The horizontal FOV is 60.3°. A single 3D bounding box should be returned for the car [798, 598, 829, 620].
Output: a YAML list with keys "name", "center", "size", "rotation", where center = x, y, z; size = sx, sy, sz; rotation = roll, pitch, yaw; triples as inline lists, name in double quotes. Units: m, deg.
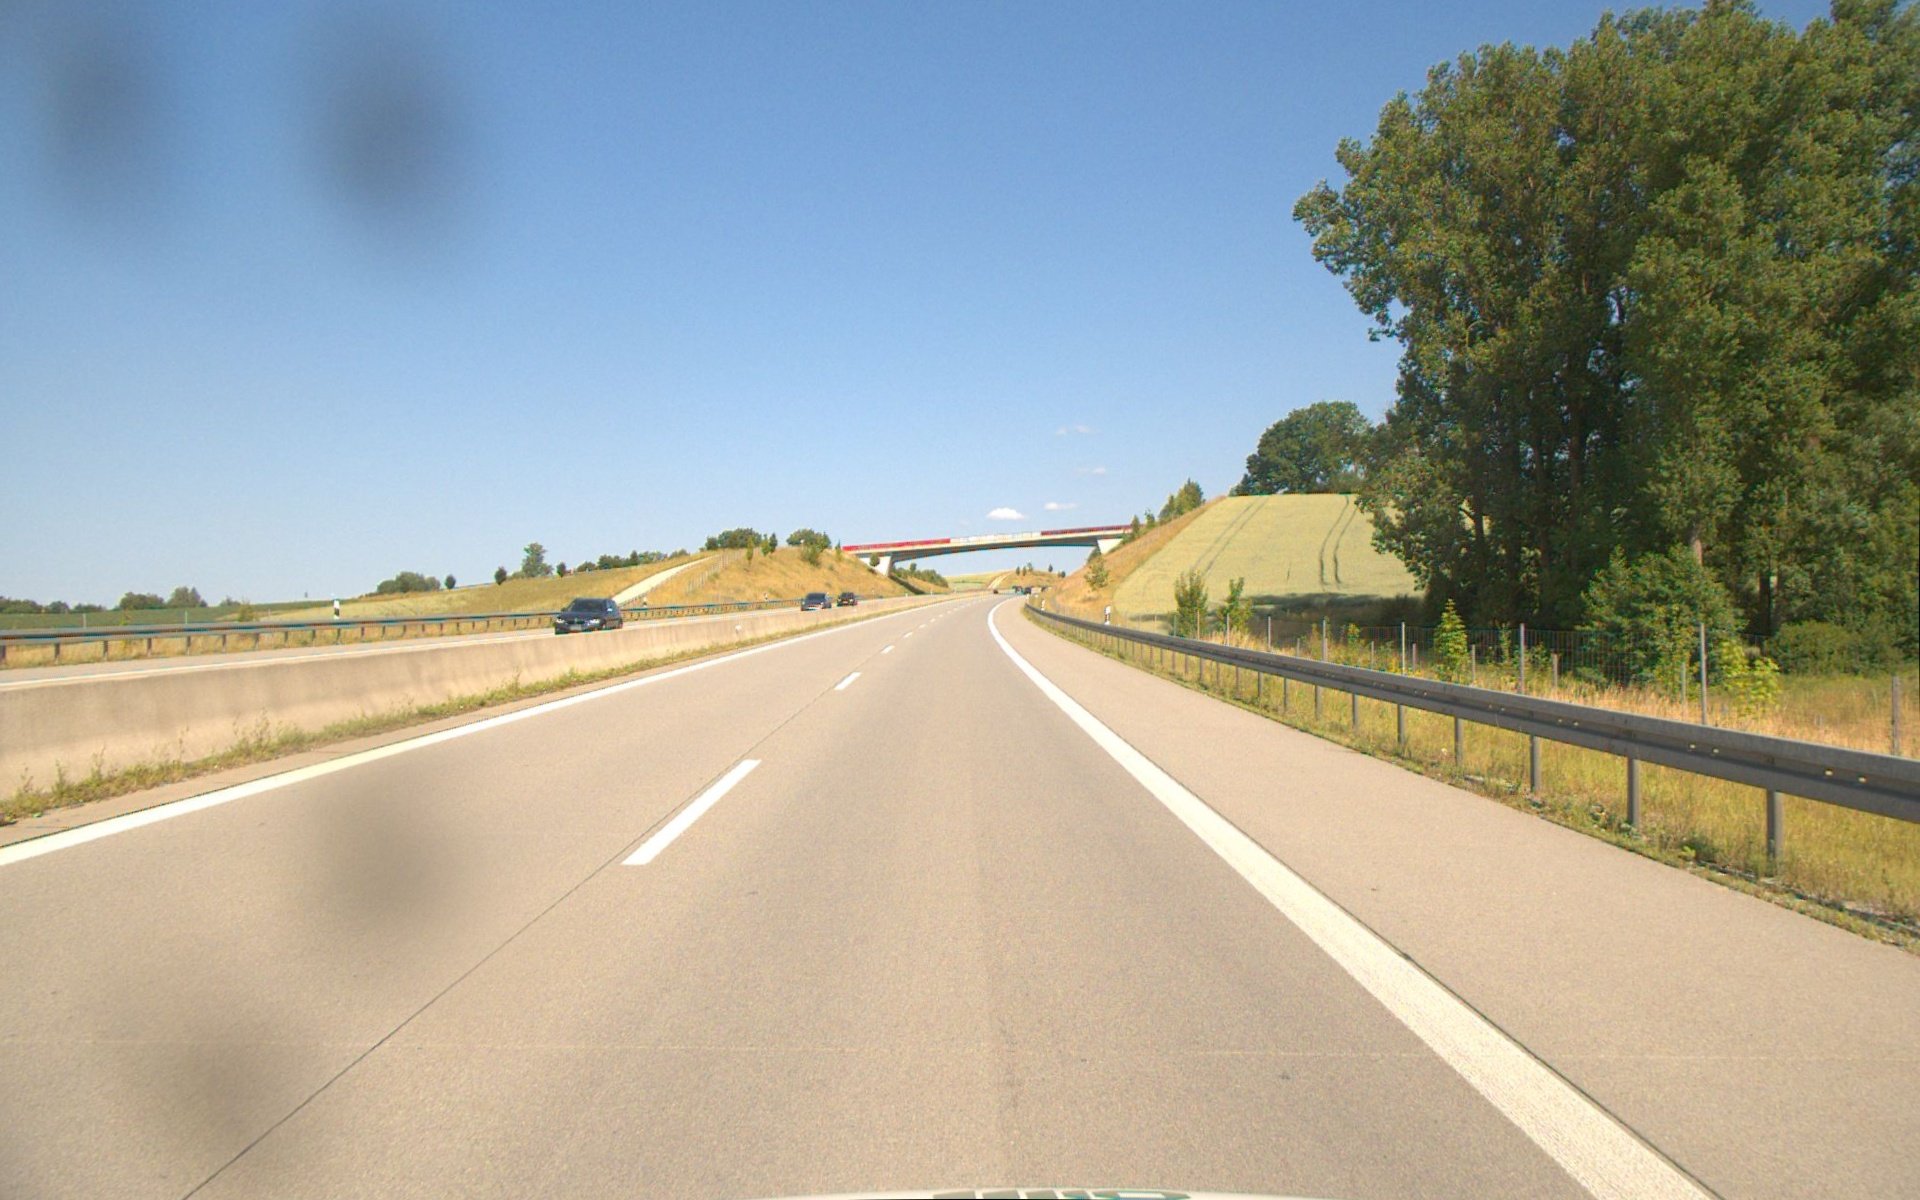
- name: "car"
  center: [-11.175, 0.677, 126.524]
  size: [1.775, 1.643, 4.677]
  rotation: [1, -1, 1]

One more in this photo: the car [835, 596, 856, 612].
- name: "car"
  center: [-12.238, 0.420, 176.456]
  size: [1.775, 1.643, 4.677]
  rotation: [1, -1, 1]

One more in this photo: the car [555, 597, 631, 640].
- name: "car"
  center: [-13.552, 0.674, 61.293]
  size: [1.776, 1.482, 4.511]
  rotation: [1, -1, 0]
